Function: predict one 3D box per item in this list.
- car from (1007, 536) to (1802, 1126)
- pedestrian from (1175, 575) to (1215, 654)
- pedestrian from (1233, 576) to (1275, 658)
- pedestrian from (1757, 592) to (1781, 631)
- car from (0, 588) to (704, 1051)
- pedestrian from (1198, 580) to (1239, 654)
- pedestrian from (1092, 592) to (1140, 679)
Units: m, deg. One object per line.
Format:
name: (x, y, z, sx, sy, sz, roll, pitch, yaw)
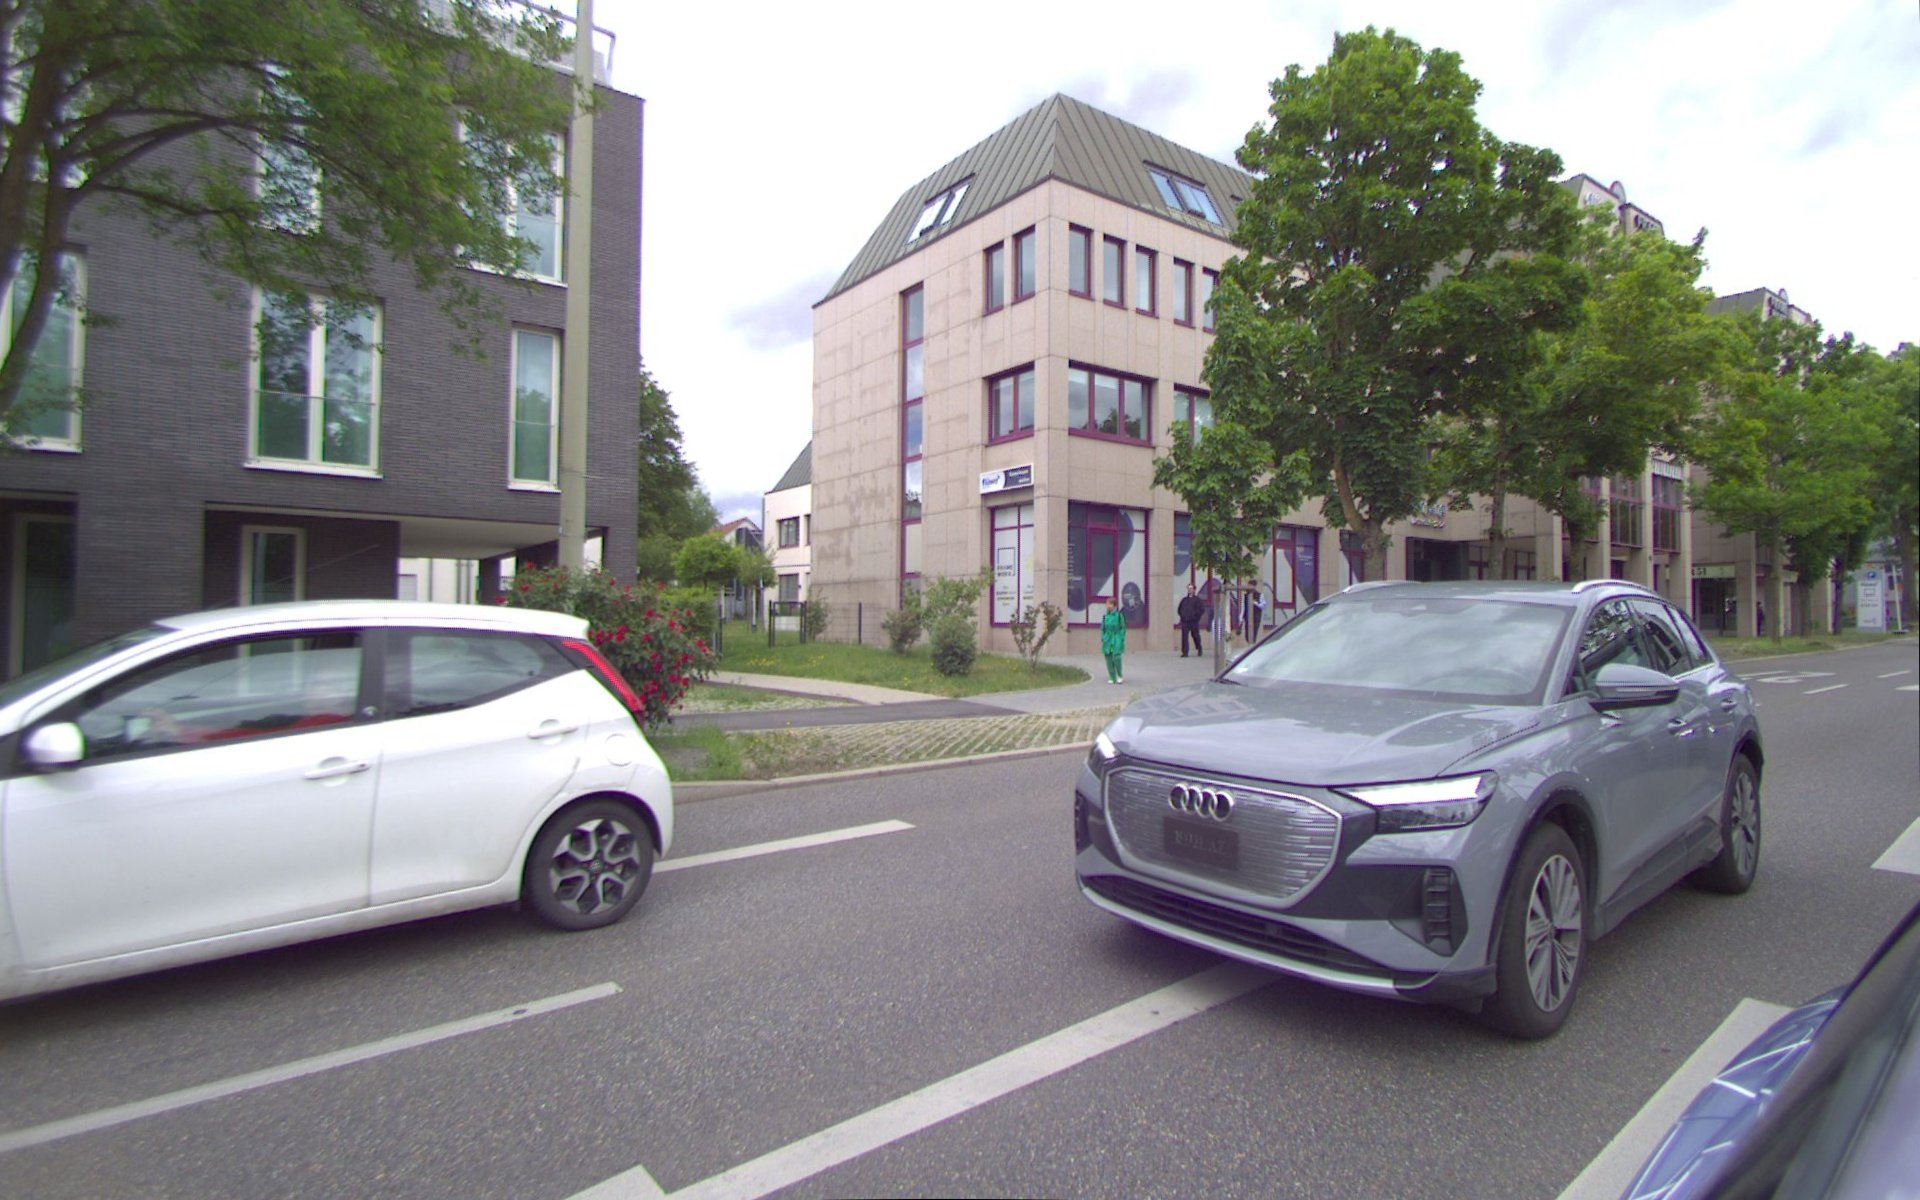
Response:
car: (2.406, 0.634, 4.896, 4.238, 1.616, 1.894, 0, 0, -41)
pedestrian: (5.529, 0.330, 23.820, 0.665, 1.828, 0.642, 0, -1, -41)
pedestrian: (6.626, 0.377, 22.801, 0.665, 1.828, 0.642, 0, -1, -41)
pedestrian: (39.140, 0.544, 48.956, 0.932, 1.845, 0.718, 0, 0, -41)
car: (-3.047, 0.681, 4.237, 3.473, 1.443, 1.656, 0, 1, -41)
pedestrian: (5.970, 0.385, 23.403, 0.665, 1.668, 0.642, 0, -1, -41)
pedestrian: (2.840, 0.630, 18.407, 0.665, 1.537, 0.496, 0, 2, -41)
